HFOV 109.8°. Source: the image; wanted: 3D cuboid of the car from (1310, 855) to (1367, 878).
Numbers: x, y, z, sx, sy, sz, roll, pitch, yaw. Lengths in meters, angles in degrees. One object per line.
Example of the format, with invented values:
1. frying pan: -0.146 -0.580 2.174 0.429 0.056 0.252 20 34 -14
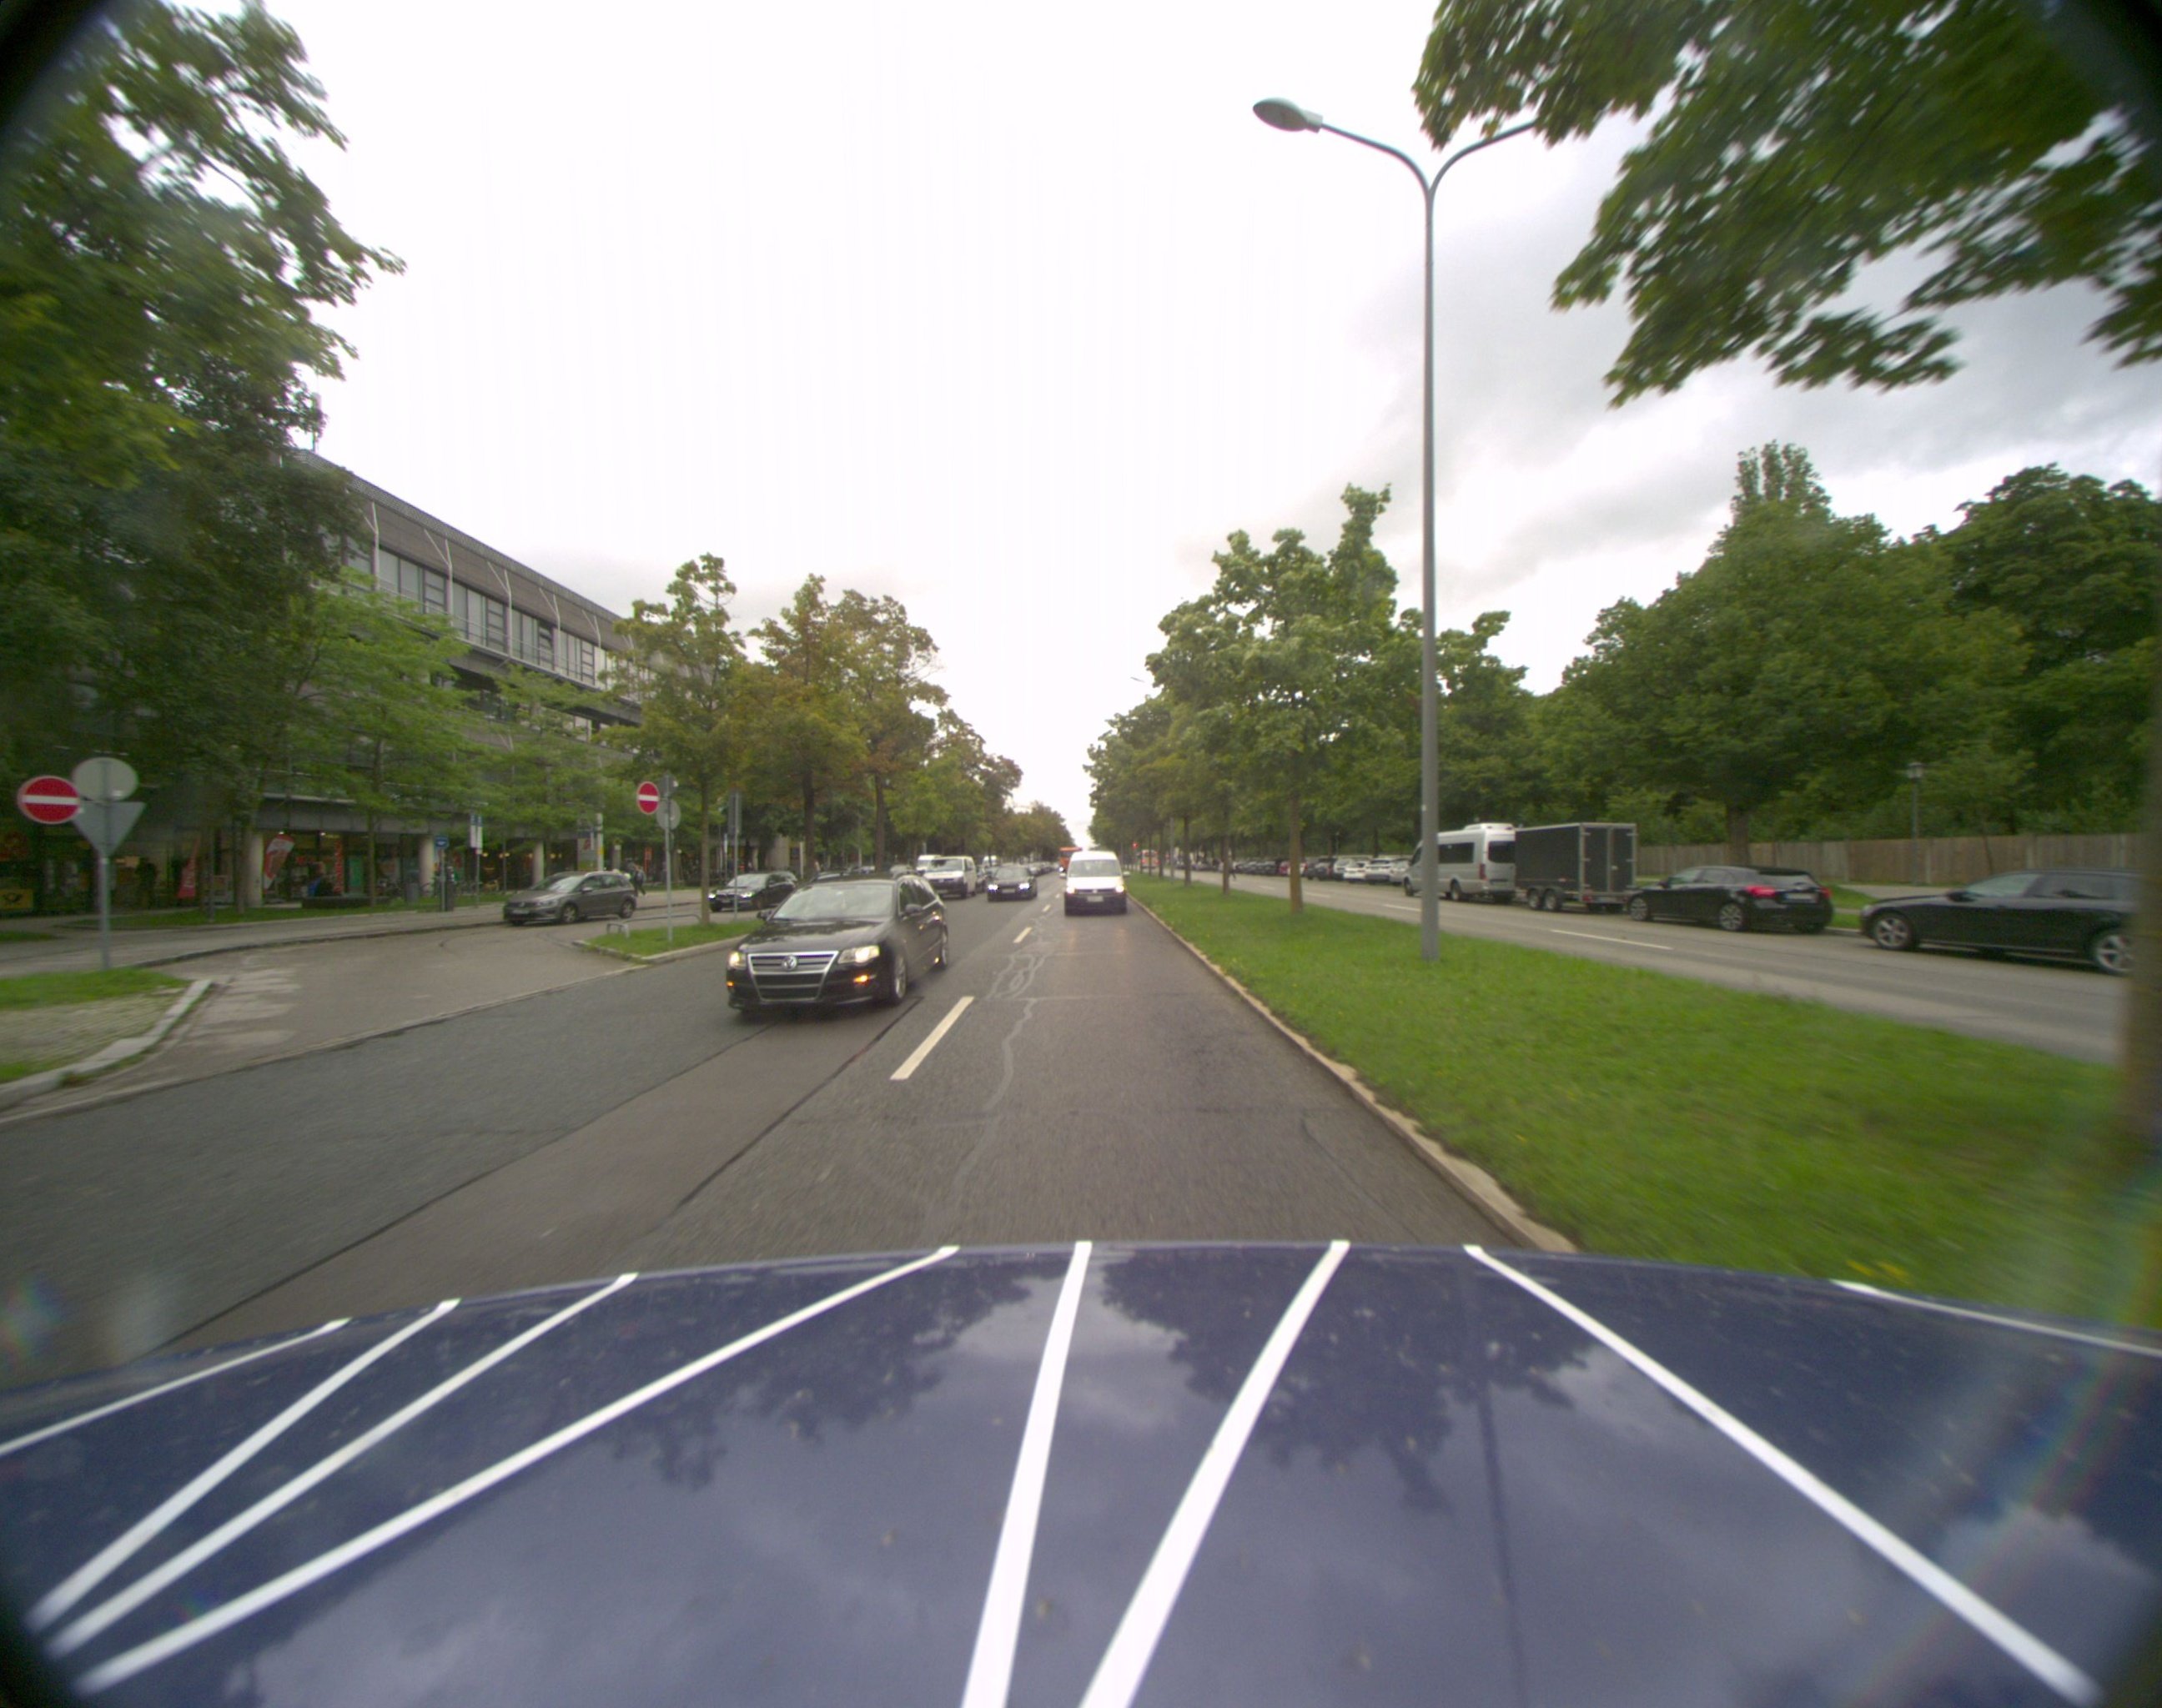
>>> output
1. car: 18.833 0.893 55.467 4.006 1.477 1.797 -2 -1 -34

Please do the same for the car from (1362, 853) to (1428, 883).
1. car: 18.925 0.808 45.721 4.007 1.613 1.797 -2 0 -35

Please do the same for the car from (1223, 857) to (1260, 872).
1. car: 18.823 1.208 88.965 4.006 1.548 1.887 -2 -1 -31

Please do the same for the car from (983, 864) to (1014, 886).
1. car: -5.591 1.419 51.924 1.686 1.367 4.081 -2 0 -1

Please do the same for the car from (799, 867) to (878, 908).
1. car: -10.083 1.348 31.991 1.732 1.424 4.691 -2 0 1

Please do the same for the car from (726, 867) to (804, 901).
1. car: -15.702 1.471 38.022 1.826 1.522 4.603 0 0 3

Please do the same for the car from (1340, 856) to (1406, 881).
1. car: 18.782 0.912 48.821 4.331 1.430 1.797 -2 0 -33

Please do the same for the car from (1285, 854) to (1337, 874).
1. car: 19.586 0.848 64.750 4.005 1.455 1.888 -3 -1 -27

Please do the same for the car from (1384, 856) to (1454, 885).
1. car: 19.123 0.899 42.939 4.007 1.457 1.797 -2 0 -36

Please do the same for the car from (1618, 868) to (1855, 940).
1. car: 14.716 1.054 17.436 1.804 1.376 4.238 1 0 1

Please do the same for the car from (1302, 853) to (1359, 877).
1. car: 19.189 0.847 58.455 4.005 1.577 1.798 -3 -1 -28

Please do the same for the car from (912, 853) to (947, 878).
1. car: -15.784 1.151 79.439 2.268 2.514 5.858 -1 0 1

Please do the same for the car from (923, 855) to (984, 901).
1. car: -5.836 1.060 35.327 1.886 1.916 4.933 -2 0 1

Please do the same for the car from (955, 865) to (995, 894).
1. car: -5.823 1.361 42.137 1.701 1.440 4.041 -2 0 -1

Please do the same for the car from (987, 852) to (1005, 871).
1. car: -12.335 1.052 110.295 1.978 2.641 6.005 -2 0 -1

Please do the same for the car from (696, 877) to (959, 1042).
1. car: -2.820 1.096 9.601 1.735 1.424 4.442 -2 0 1

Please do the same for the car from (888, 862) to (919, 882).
1. car: -15.616 1.551 67.099 1.865 1.624 4.340 0 0 -3

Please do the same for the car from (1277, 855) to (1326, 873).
1. car: 19.651 0.882 67.784 4.005 1.446 1.737 -3 -1 -27

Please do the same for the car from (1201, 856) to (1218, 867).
1. car: 17.945 0.991 106.249 1.889 1.435 4.170 -2 0 5

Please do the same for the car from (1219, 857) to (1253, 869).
1. car: 18.833 1.068 92.222 4.006 1.358 1.588 -2 0 -30

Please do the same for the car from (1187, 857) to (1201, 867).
1. car: 18.057 1.258 121.913 1.889 1.435 4.170 -2 0 5

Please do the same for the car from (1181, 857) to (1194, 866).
1. car: 18.244 1.351 130.242 1.889 1.435 4.170 -2 0 5

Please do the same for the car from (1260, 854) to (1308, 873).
1. car: 18.909 0.885 70.797 4.005 1.548 1.888 -3 -1 -27

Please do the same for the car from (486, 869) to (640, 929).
1. car: -16.101 1.336 23.925 1.826 1.624 4.199 0 0 3

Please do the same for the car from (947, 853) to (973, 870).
1. car: -15.310 0.900 96.794 2.268 2.091 5.858 -1 0 1

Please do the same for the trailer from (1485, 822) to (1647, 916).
1. trailer: 14.622 0.428 23.289 2.022 2.575 4.659 1 0 1

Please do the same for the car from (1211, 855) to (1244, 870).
1. car: 19.062 1.120 98.843 4.006 1.718 1.777 -2 0 -33

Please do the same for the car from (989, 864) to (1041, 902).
1. car: -2.753 1.178 32.575 1.763 1.405 4.462 -2 0 0

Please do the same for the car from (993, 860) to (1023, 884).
1. car: -5.535 1.329 57.684 1.686 1.632 4.465 -4 0 1

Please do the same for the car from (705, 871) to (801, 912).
1. car: -12.922 1.445 30.257 1.726 1.371 4.352 -2 0 3

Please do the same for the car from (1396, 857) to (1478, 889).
1. car: 18.430 0.954 39.298 4.006 1.425 1.797 -2 0 -29

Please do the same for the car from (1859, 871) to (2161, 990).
1. car: 14.467 1.011 11.048 1.804 1.417 4.431 1 0 1
